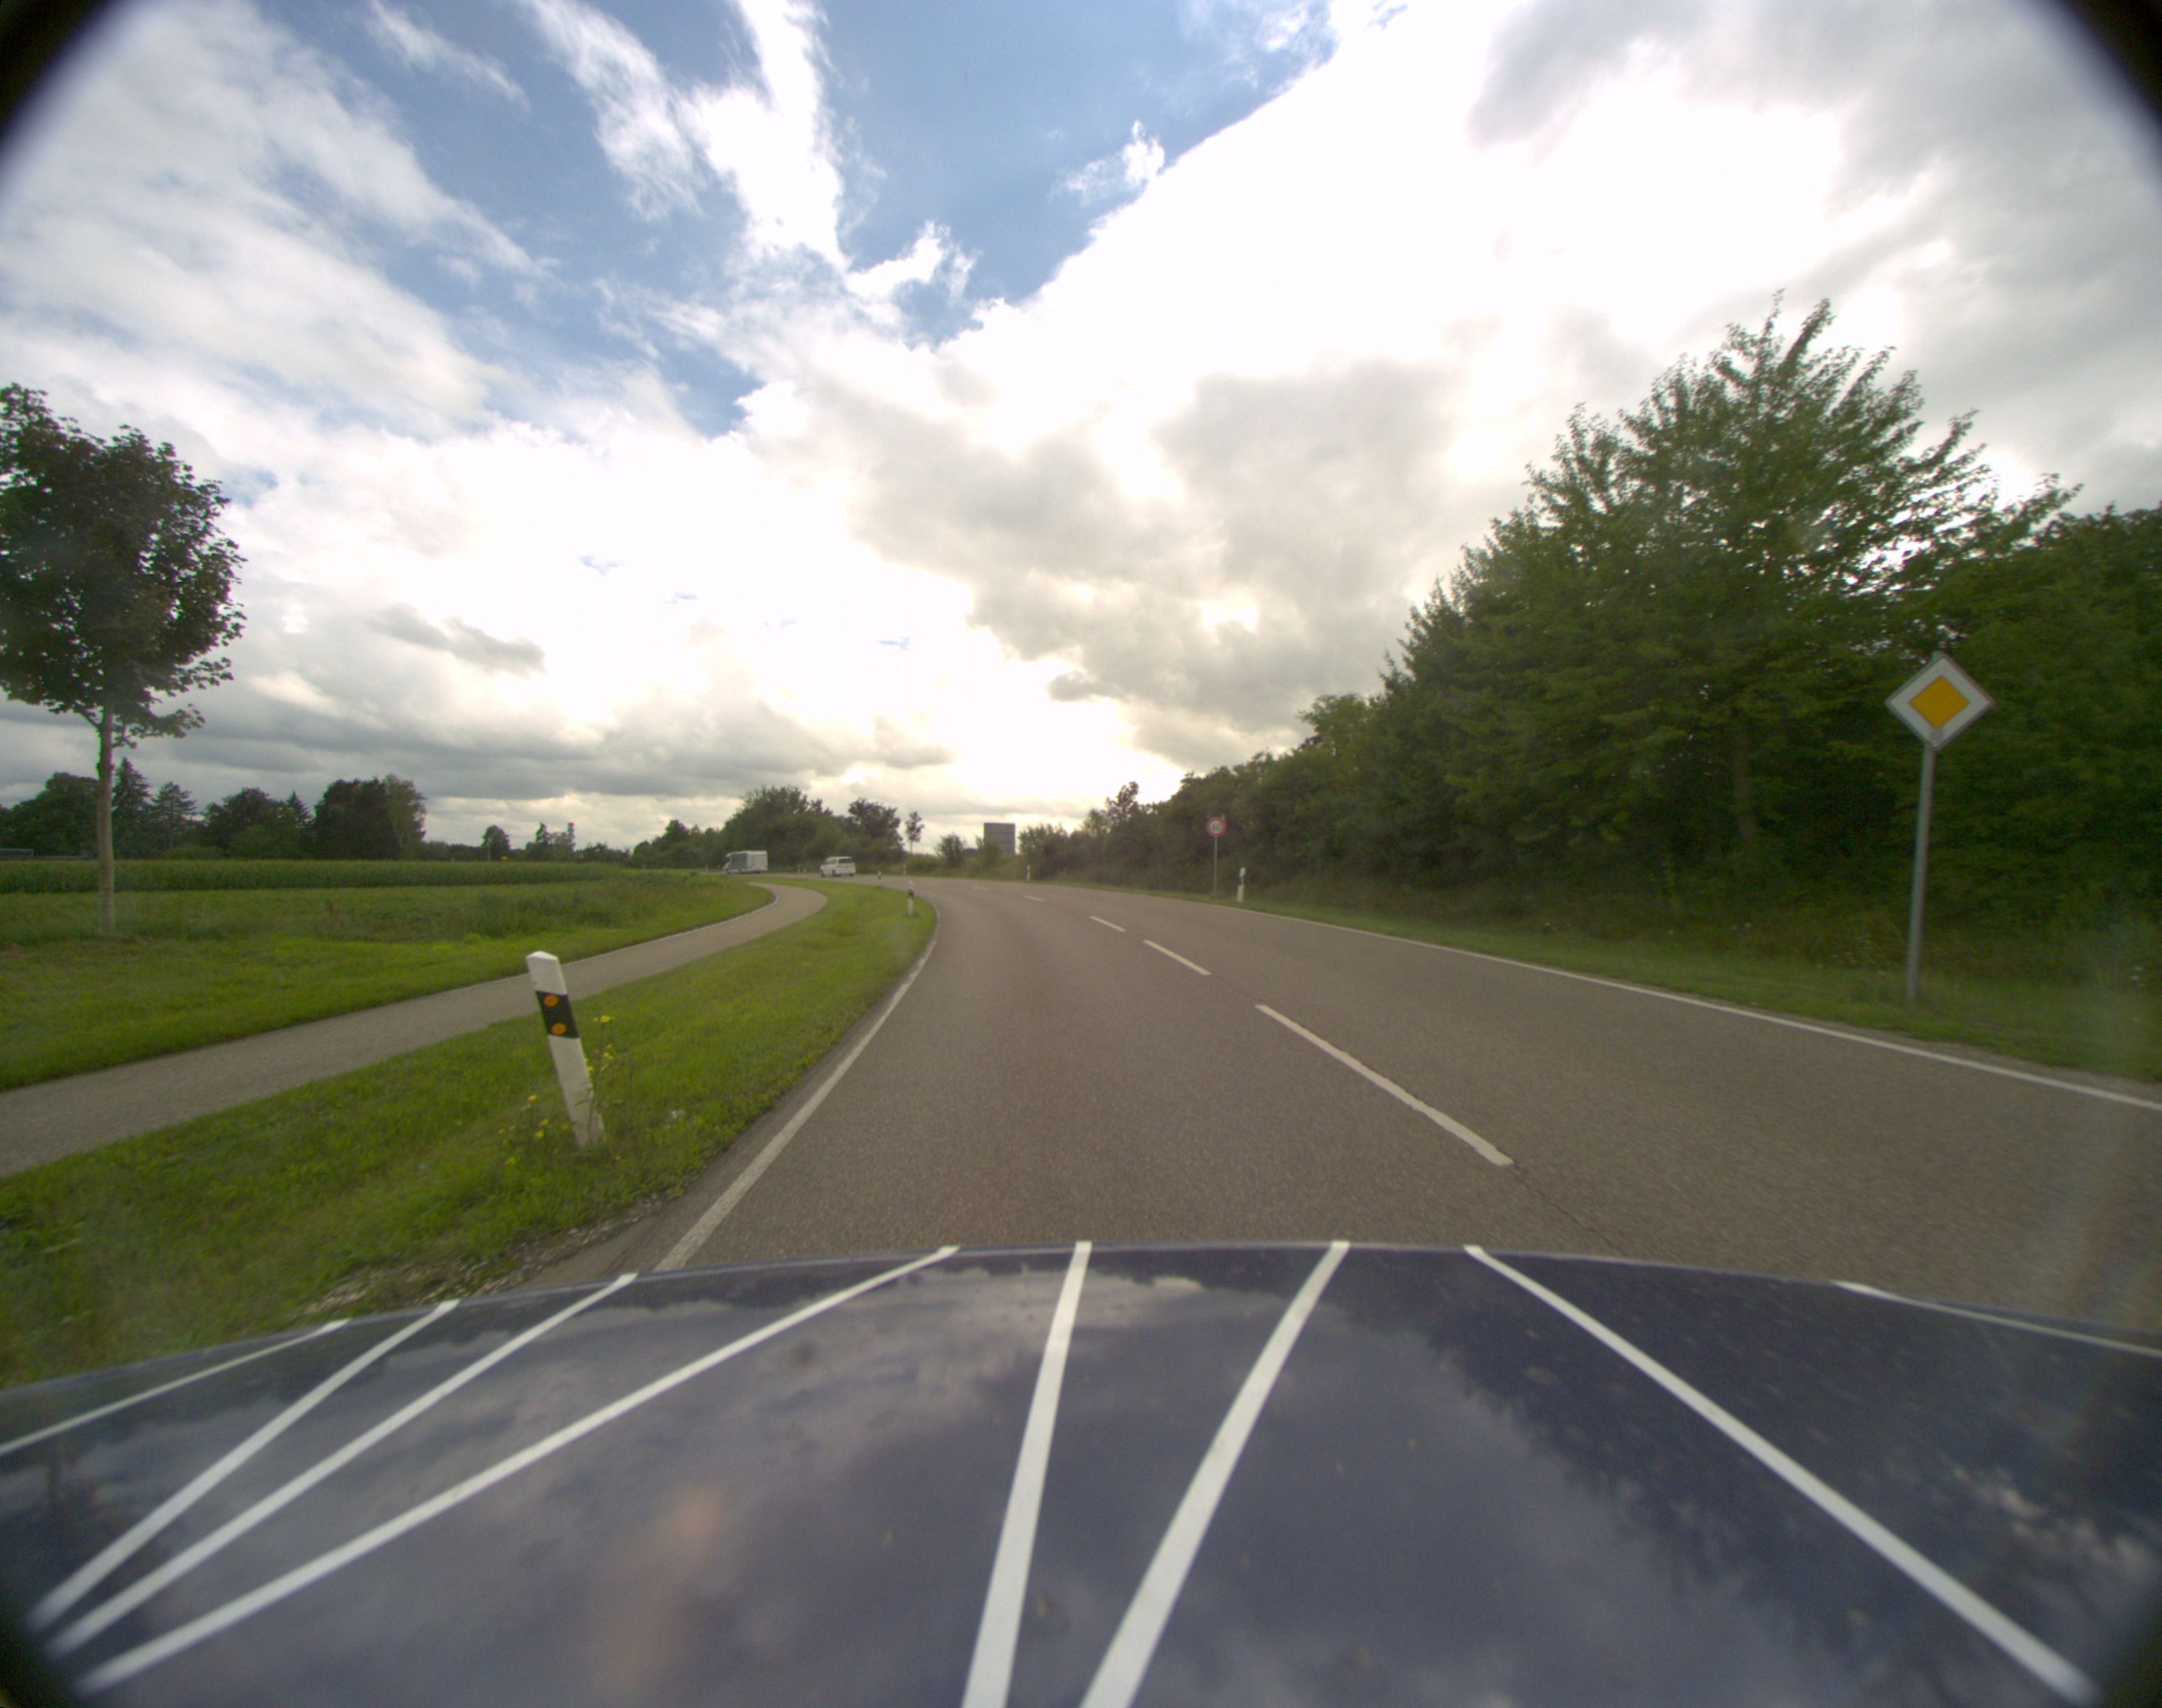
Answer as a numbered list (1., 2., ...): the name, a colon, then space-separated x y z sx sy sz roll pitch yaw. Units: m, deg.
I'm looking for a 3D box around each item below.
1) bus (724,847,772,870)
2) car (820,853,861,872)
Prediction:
1. bus: -40.864 0.580 92.990 2.488 2.695 8.406 -1 1 -45
2. car: -23.761 0.820 75.069 2.124 1.858 5.172 -1 0 -39
